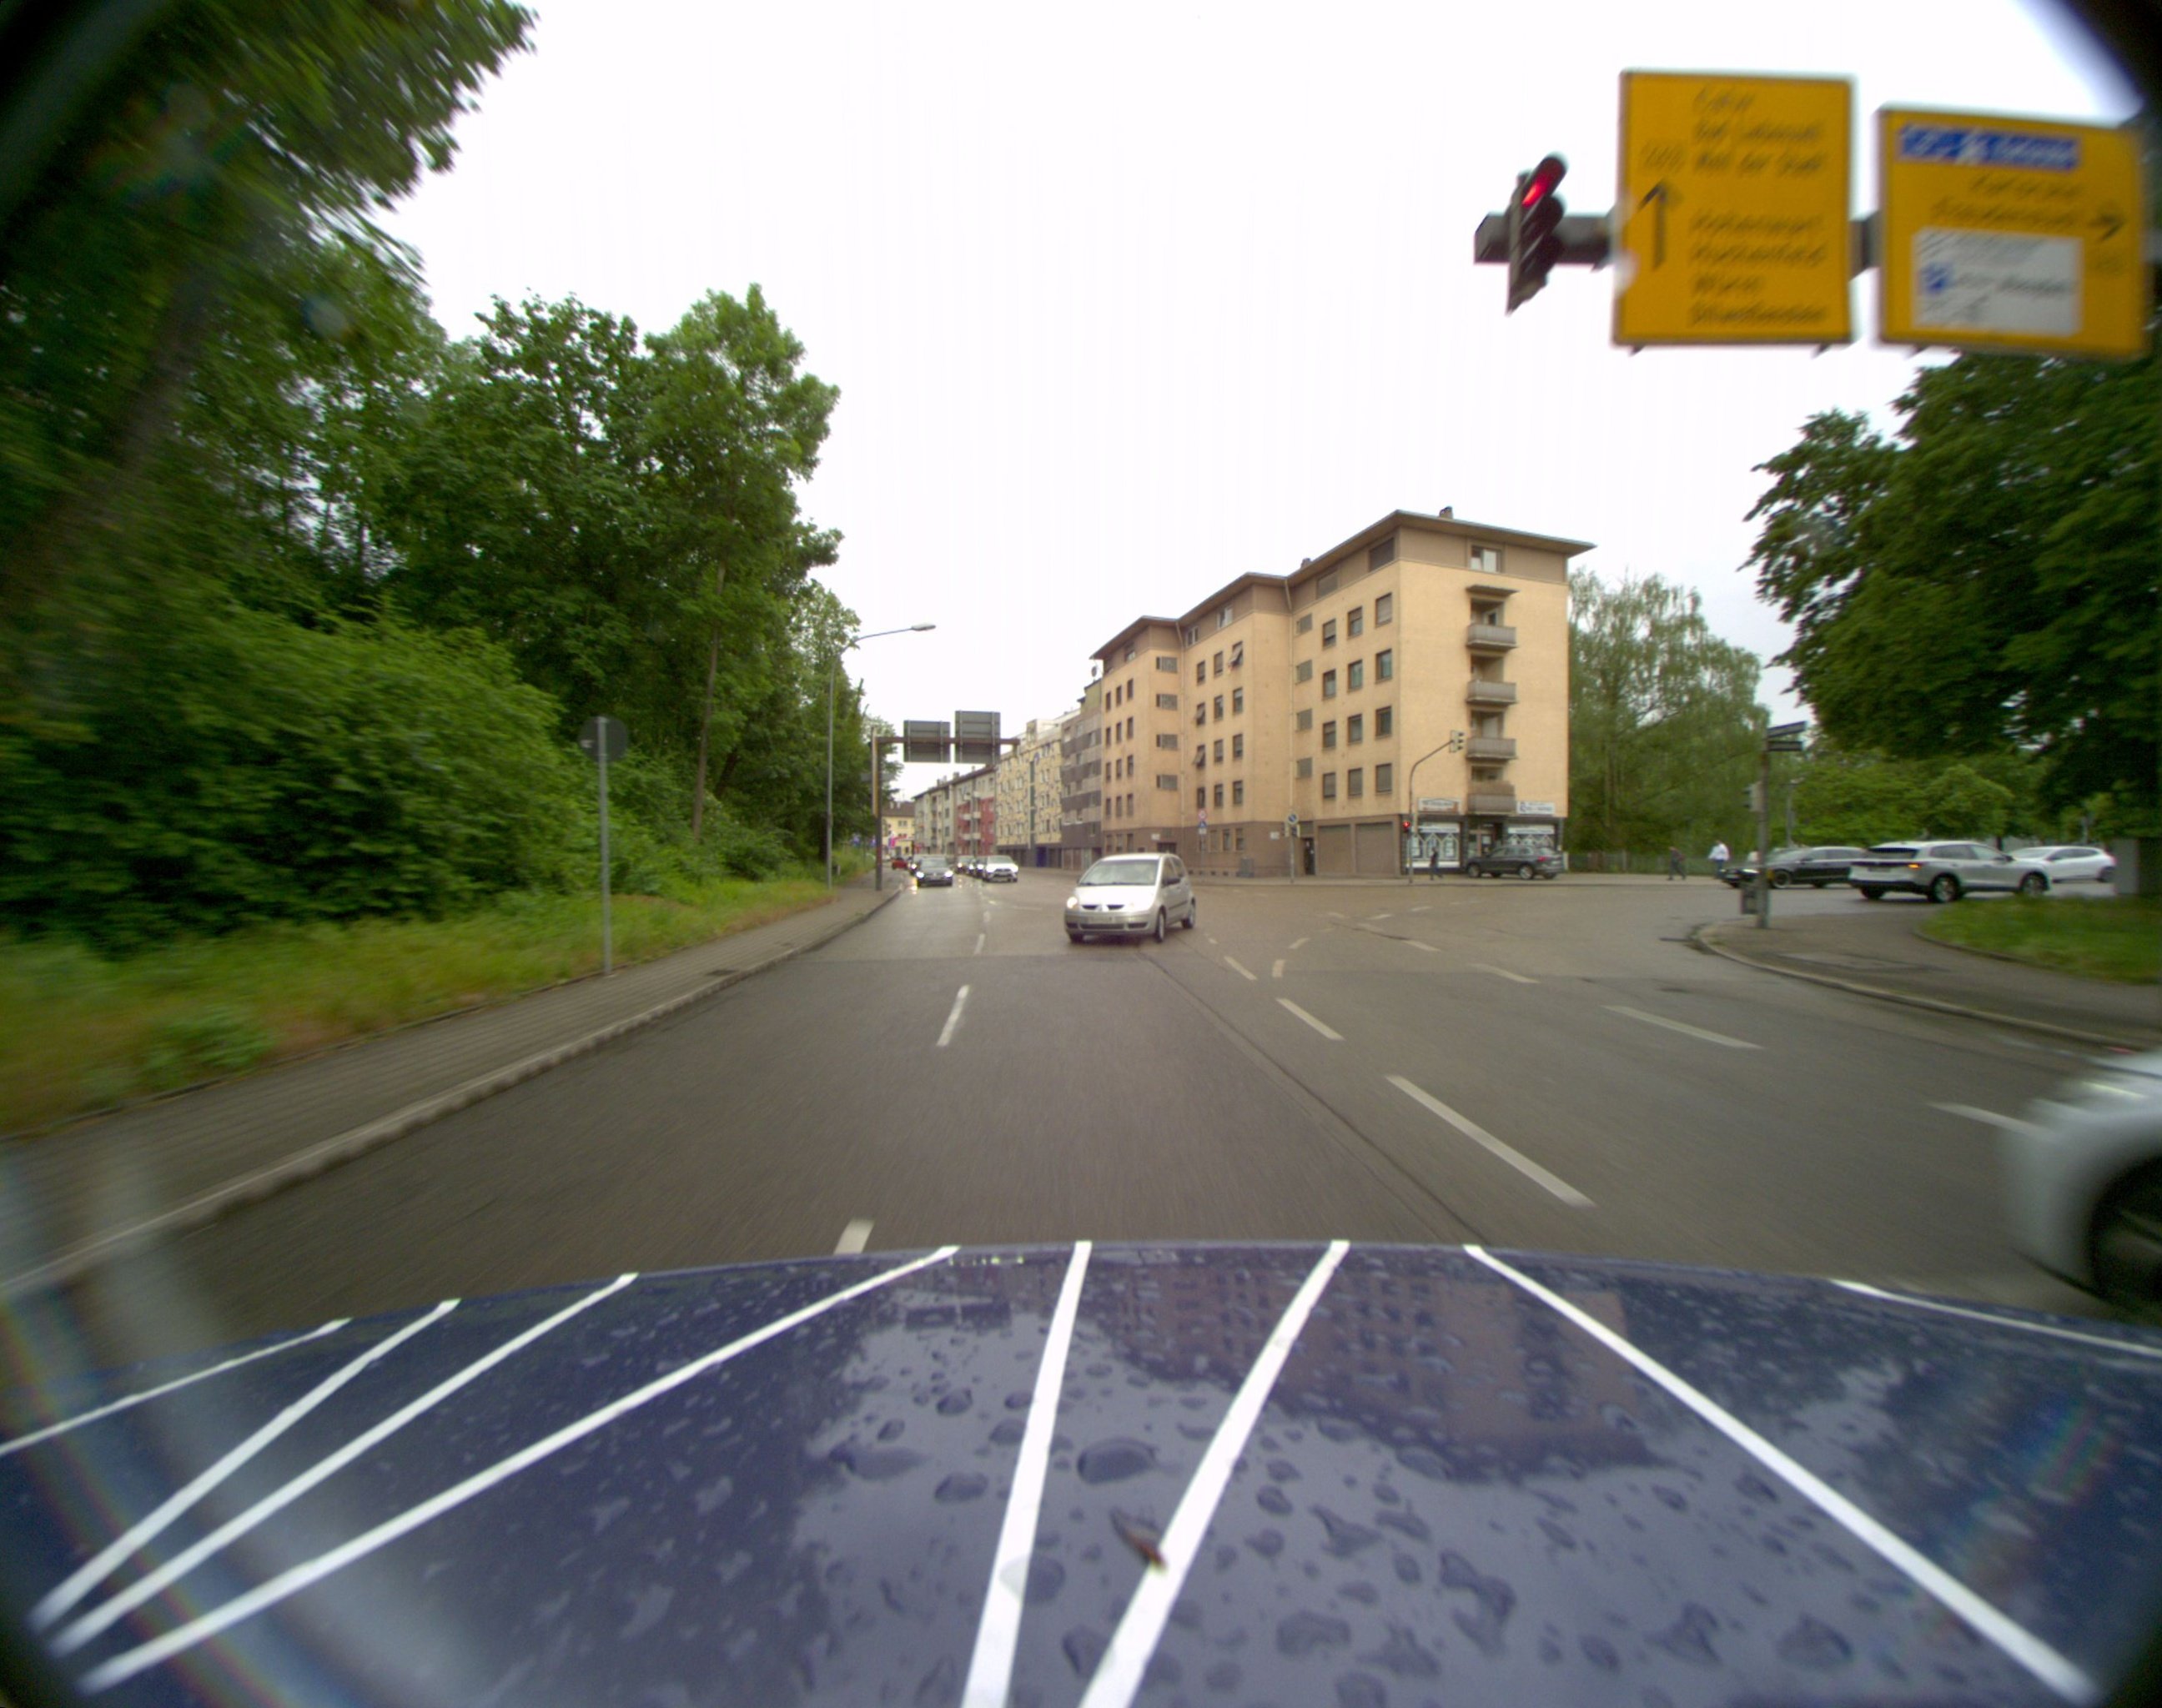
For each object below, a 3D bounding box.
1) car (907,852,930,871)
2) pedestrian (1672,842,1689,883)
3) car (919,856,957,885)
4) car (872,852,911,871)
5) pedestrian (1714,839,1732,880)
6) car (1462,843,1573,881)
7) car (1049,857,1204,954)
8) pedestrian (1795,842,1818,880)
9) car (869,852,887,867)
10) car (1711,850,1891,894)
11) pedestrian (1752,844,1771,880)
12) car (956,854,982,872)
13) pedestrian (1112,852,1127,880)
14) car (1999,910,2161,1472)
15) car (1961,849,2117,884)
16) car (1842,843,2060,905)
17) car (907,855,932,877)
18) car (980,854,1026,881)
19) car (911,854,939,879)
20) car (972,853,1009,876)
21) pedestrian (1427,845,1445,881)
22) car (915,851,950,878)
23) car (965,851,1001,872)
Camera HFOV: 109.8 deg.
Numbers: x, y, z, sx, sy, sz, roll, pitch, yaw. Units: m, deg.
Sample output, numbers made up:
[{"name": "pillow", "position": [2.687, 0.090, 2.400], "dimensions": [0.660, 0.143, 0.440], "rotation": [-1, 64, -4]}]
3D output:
[{"name": "car", "position": [-14.133, 0.634, 66.043], "dimensions": [1.683, 1.646, 3.994], "rotation": [0, 0, -16]}, {"name": "pedestrian", "position": [26.784, 0.370, 33.955], "dimensions": [0.558, 1.793, 0.477], "rotation": [0, 1, 40]}, {"name": "car", "position": [-7.386, 0.809, 39.321], "dimensions": [1.820, 1.400, 4.228], "rotation": [-1, 0, -11]}, {"name": "car", "position": [-20.133, 0.770, 80.491], "dimensions": [2.004, 2.002, 4.474], "rotation": [-1, 1, -44]}, {"name": "pedestrian", "position": [28.789, 0.242, 34.097], "dimensions": [0.508, 1.793, 0.498], "rotation": [0, 1, 26]}, {"name": "car", "position": [20.500, 0.329, 35.869], "dimensions": [1.762, 1.638, 4.272], "rotation": [-1, 2, -26]}, {"name": "car", "position": [1.016, 0.849, 14.230], "dimensions": [1.750, 1.510, 4.006], "rotation": [-2, 0, 21]}, {"name": "pedestrian", "position": [31.196, 0.298, 32.681], "dimensions": [0.701, 1.637, 0.661], "rotation": [0, 1, 42]}, {"name": "car", "position": [-23.475, 0.621, 87.711], "dimensions": [1.912, 1.701, 4.890], "rotation": [-1, 0, -15]}, {"name": "car", "position": [25.346, 0.616, 26.870], "dimensions": [4.503, 1.454, 2.000], "rotation": [0, 0, 0]}, {"name": "pedestrian", "position": [29.585, 0.344, 33.033], "dimensions": [0.442, 1.574, 0.461], "rotation": [-1, 1, -25]}, {"name": "car", "position": [-9.113, 0.738, 61.729], "dimensions": [1.713, 1.386, 3.995], "rotation": [0, 0, -14]}, {"name": "pedestrian", "position": [2.886, 0.893, 56.624], "dimensions": [0.811, 2.001, 0.857], "rotation": [-1, 0, -17]}, {"name": "car", "position": [3.856, 0.952, 0.308], "dimensions": [1.789, 1.487, 4.215], "rotation": [1, 0, -1]}, {"name": "car", "position": [37.398, 0.486, 29.735], "dimensions": [3.997, 1.302, 1.653], "rotation": [-1, 0, 1]}, {"name": "car", "position": [24.526, 0.539, 21.496], "dimensions": [4.473, 1.661, 1.843], "rotation": [0, 0, -7]}, {"name": "car", "position": [-12.728, 0.946, 59.698], "dimensions": [1.683, 1.646, 3.994], "rotation": [0, 0, -16]}, {"name": "car", "position": [-4.557, 0.718, 43.738], "dimensions": [1.880, 1.469, 4.548], "rotation": [0, 0, -15]}, {"name": "car", "position": [-11.109, 0.861, 53.934], "dimensions": [1.683, 1.646, 3.994], "rotation": [0, 0, -16]}, {"name": "car", "position": [-6.134, 0.682, 51.129], "dimensions": [1.921, 1.469, 4.613], "rotation": [0, 0, -14]}, {"name": "pedestrian", "position": [16.383, 0.423, 35.088], "dimensions": [0.581, 1.629, 0.618], "rotation": [0, 1, 5]}, {"name": "car", "position": [-9.440, 0.645, 48.189], "dimensions": [2.001, 1.607, 4.614], "rotation": [-1, 0, -12]}, {"name": "car", "position": [-7.313, 0.544, 56.241], "dimensions": [2.001, 1.469, 4.613], "rotation": [0, 0, -15]}]
